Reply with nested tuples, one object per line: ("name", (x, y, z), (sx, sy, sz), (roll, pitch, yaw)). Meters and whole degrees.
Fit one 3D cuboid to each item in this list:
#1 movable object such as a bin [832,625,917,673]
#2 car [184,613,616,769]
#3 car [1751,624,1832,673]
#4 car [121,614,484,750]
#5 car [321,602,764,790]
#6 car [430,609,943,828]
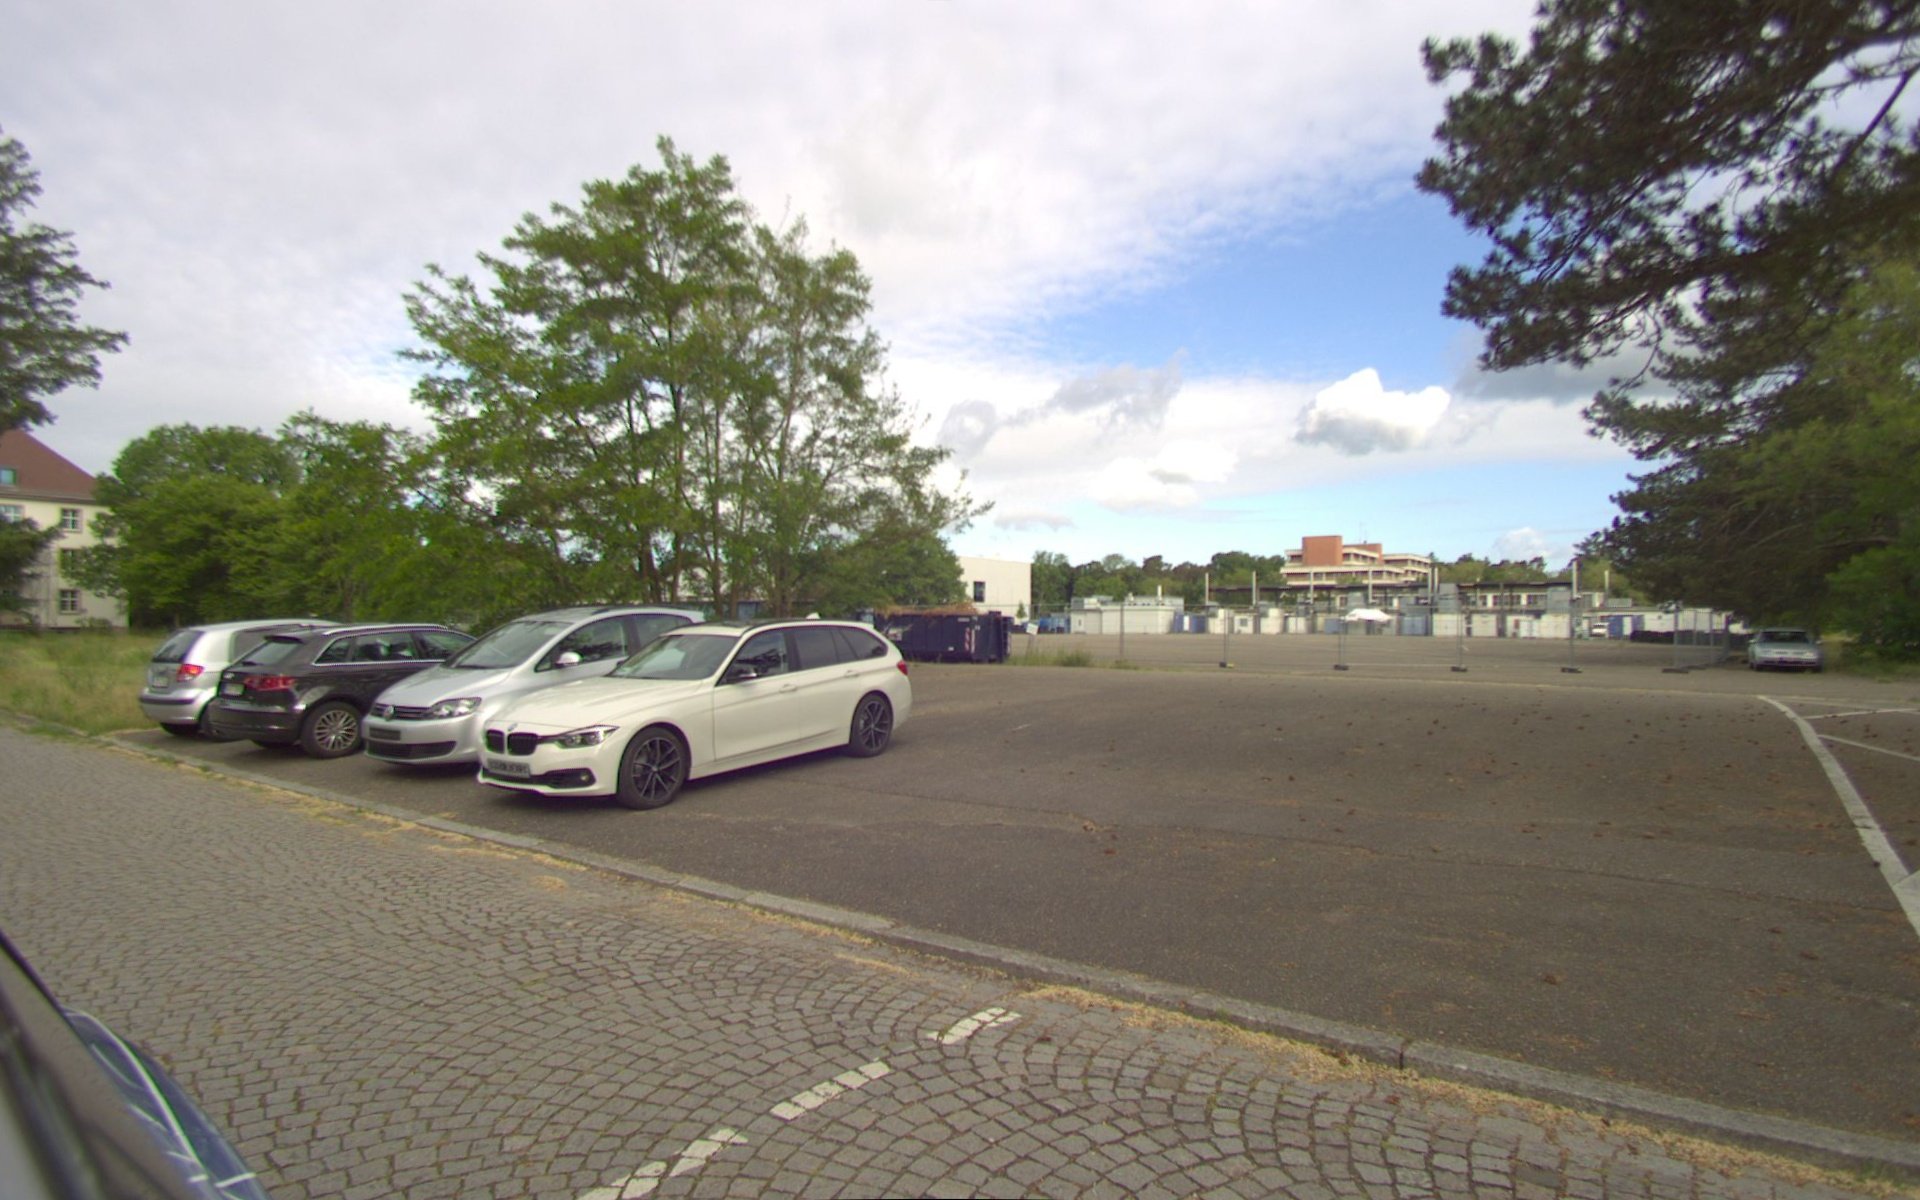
("movable object such as a bin", (-2.111, 1.210, 25.304), (0.857, 1.134, 2.241), (-1, -2, 35))
("car", (-6.682, 0.959, 12.586), (1.718, 1.435, 4.397), (-1, 1, 35))
("car", (27.465, 1.567, 33.526), (1.732, 1.443, 4.112), (-1, -1, 35))
("car", (-8.918, 1.002, 14.053), (1.580, 1.481, 3.917), (-1, 1, 34))
("car", (-4.360, 0.863, 11.292), (1.866, 1.610, 4.331), (-1, 0, 31))
("car", (-2.296, 0.902, 9.797), (1.862, 1.499, 4.699), (-2, -1, 34))
